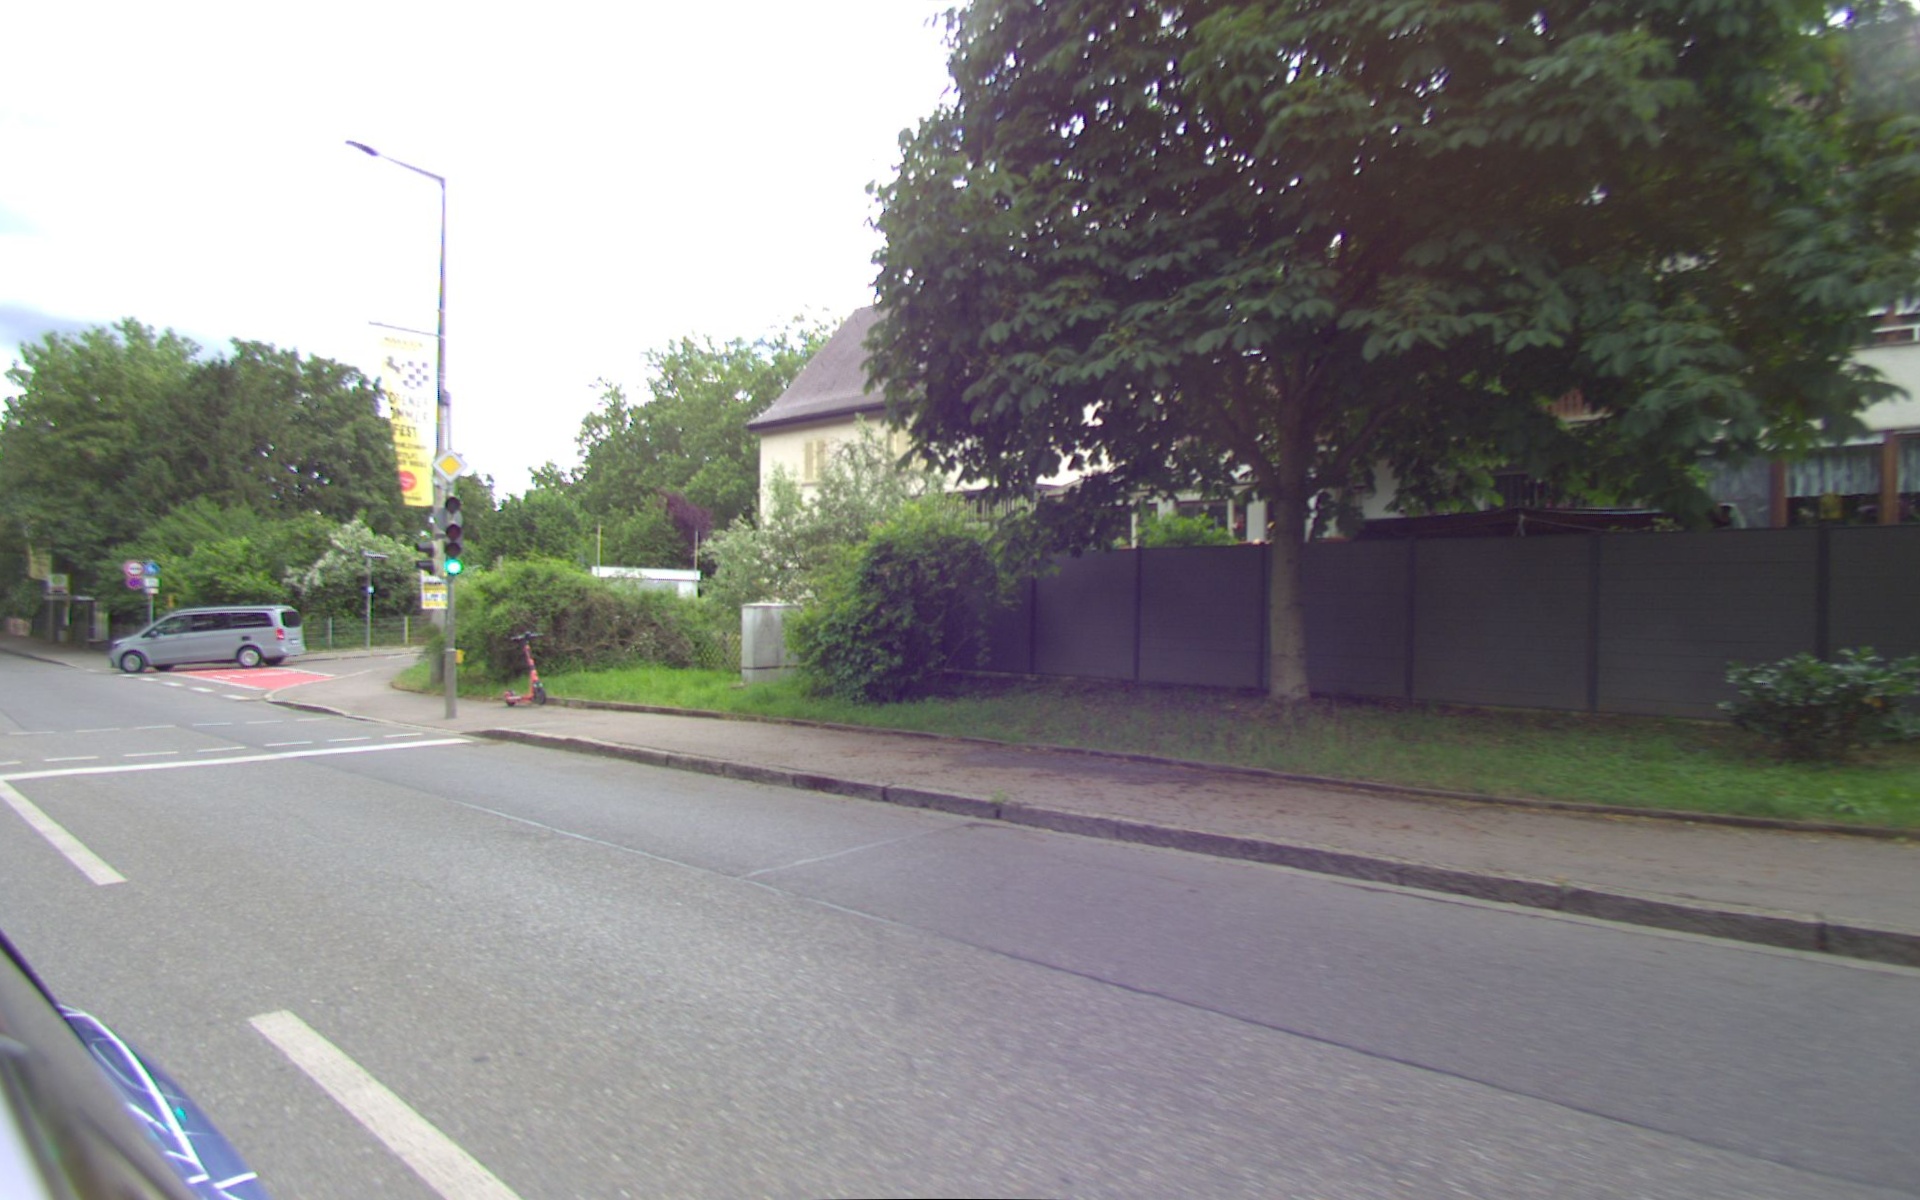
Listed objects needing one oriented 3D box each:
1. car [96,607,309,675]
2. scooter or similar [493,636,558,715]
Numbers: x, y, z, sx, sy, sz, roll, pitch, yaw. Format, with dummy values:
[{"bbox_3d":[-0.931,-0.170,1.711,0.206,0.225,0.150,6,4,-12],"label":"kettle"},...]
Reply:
[{"bbox_3d":[-24.064,1.258,32.368,5.069,1.942,1.957,-1,0,-14],"label":"car"},{"bbox_3d":[-7.449,1.263,17.326,1.426,1.268,0.457,-1,-1,42],"label":"scooter or similar"}]
